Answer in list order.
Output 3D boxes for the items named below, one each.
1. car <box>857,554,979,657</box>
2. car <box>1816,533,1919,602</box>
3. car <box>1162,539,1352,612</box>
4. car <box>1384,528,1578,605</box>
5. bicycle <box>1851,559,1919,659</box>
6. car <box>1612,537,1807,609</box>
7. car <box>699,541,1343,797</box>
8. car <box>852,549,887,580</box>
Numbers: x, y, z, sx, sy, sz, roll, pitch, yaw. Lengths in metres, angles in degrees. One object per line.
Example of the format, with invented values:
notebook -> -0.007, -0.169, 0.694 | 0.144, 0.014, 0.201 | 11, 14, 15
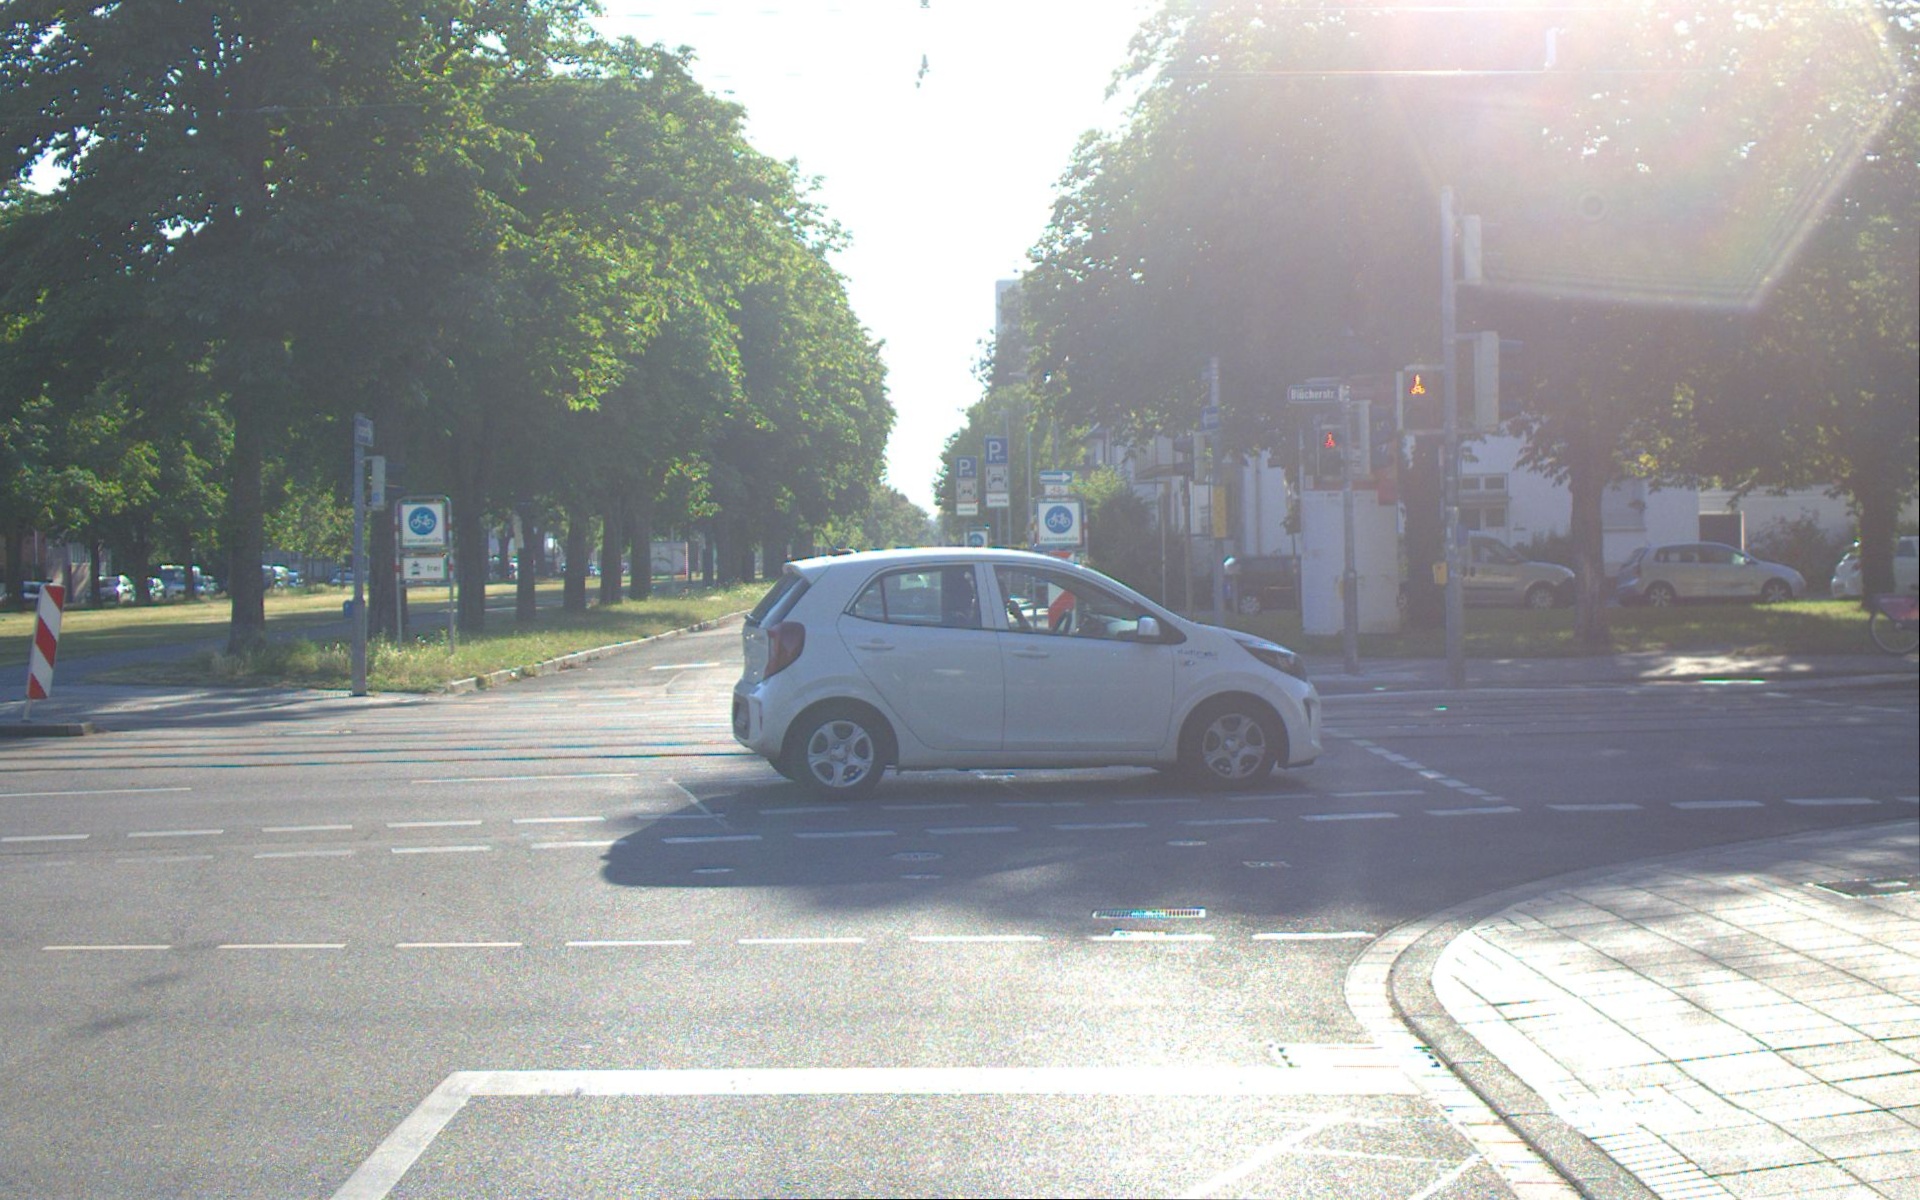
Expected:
car -> -0.588, 0.055, 50.571 | 1.641, 1.446, 3.307 | 0, 1, 2
car -> 20.092, -0.698, 72.087 | 3.845, 1.422, 1.598 | -1, 1, -4
car -> 6.152, -0.523, 71.479 | 3.779, 1.422, 1.744 | -1, 2, 0
car -> 10.832, -0.710, 71.660 | 3.779, 1.520, 1.744 | -1, 2, 0
bicycle -> 11.213, 0.090, 39.169 | 1.954, 1.128, 0.620 | -1, 1, 2
car -> 15.568, -0.568, 71.456 | 3.662, 1.422, 1.532 | -1, 1, -4
car -> 0.332, 0.386, 21.248 | 3.685, 1.483, 1.742 | 0, 1, -11
car -> -5.927, -2.321, 225.233 | 2.134, 2.007, 3.901 | 0, 1, 0
